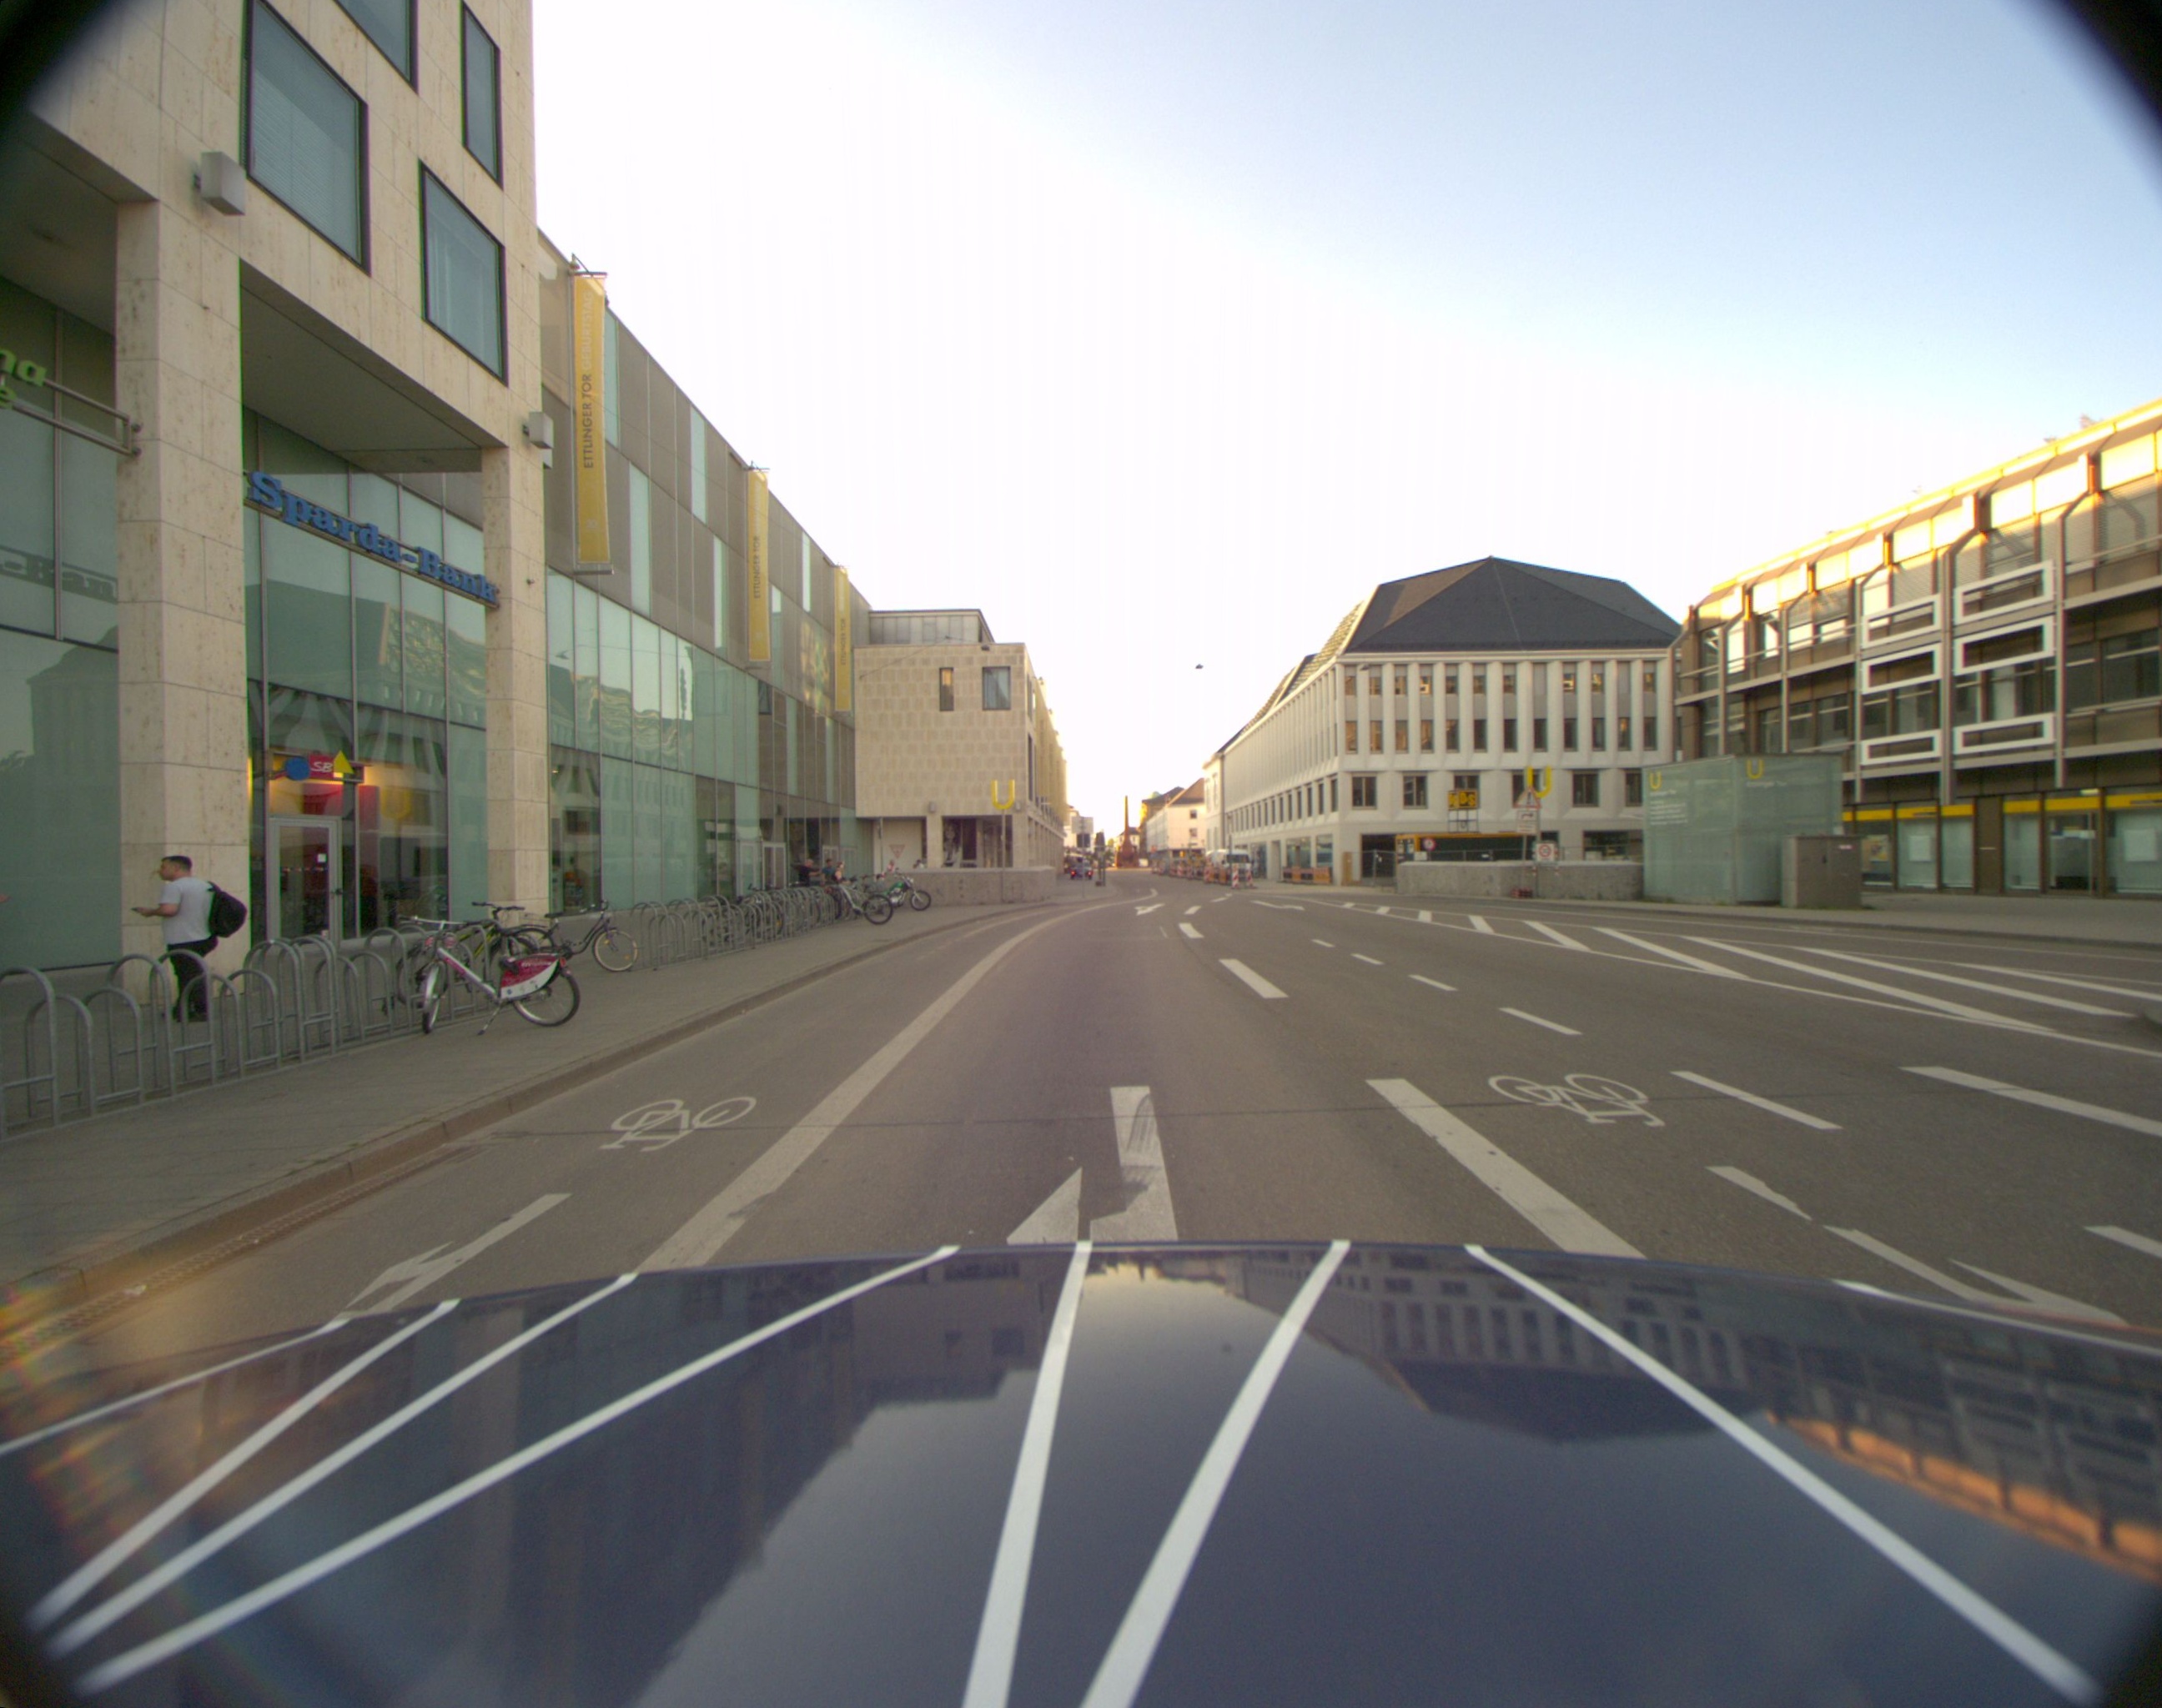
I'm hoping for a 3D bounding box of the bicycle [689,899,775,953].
[{"bbox_3d":[-6.652,1.365,14.508,1.345,0.927,0.518,-3,0,-1],"label":"bicycle"}]

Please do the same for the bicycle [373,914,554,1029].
[{"bbox_3d":[-6.796,1.284,8.397,1.518,1.117,0.581,-3,0,4],"label":"bicycle"}]

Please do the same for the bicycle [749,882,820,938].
[{"bbox_3d":[-6.657,1.256,17.082,1.345,1.157,0.518,-3,0,-1],"label":"bicycle"}]

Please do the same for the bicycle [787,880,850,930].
[{"bbox_3d":[-6.601,1.282,19.168,1.345,1.157,0.518,-3,0,-1],"label":"bicycle"}]

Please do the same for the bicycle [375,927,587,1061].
[{"bbox_3d":[-5.396,1.245,6.871,1.518,1.057,0.466,-3,0,1],"label":"bicycle"}]

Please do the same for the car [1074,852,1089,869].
[{"bbox_3d":[0.106,0.804,100.240,1.798,2.198,3.671,-1,0,2],"label":"car"}]

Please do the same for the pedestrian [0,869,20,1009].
[{"bbox_3d":[-13.002,1.002,8.727,0.629,1.642,0.708,-1,0,2],"label":"pedestrian"}]

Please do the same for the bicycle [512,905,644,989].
[{"bbox_3d":[-7.301,1.339,11.077,1.447,1.058,0.580,-3,0,-10],"label":"bicycle"}]

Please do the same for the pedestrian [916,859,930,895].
[{"bbox_3d":[-7.610,1.108,36.611,0.494,1.733,0.657,-1,0,3],"label":"pedestrian"}]

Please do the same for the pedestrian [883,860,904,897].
[{"bbox_3d":[-8.962,1.164,36.287,0.793,1.733,0.657,-1,0,3],"label":"pedestrian"}]

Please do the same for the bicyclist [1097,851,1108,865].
[{"bbox_3d":[3.722,0.724,130.656,1.549,2.391,1.207,-1,0,17],"label":"bicyclist"}]

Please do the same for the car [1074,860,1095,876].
[{"bbox_3d":[0.336,1.271,67.773,1.798,1.365,3.671,-1,0,2],"label":"car"}]

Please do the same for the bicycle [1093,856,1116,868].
[{"bbox_3d":[4.008,1.434,130.562,3.699,2.002,1.024,-1,0,18],"label":"bicycle"}]

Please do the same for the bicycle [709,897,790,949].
[{"bbox_3d":[-6.594,1.373,15.154,1.345,0.927,0.518,-3,0,-1],"label":"bicycle"}]

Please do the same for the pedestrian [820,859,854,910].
[{"bbox_3d":[-8.322,1.021,25.936,0.697,1.686,0.822,-1,0,24],"label":"pedestrian"}]

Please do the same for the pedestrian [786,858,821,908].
[{"bbox_3d":[-9.306,0.947,25.485,0.739,1.638,0.822,-1,0,23],"label":"pedestrian"}]

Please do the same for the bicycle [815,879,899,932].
[{"bbox_3d":[-5.387,1.236,18.324,1.838,1.140,0.466,-3,0,1],"label":"bicycle"}]

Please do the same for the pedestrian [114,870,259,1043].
[{"bbox_3d":[-9.129,1.016,7.776,0.707,1.682,0.629,-1,0,1],"label":"pedestrian"}]

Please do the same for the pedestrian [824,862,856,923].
[{"bbox_3d":[-6.669,1.054,20.992,0.809,1.633,0.646,-1,0,-18],"label":"pedestrian"}]

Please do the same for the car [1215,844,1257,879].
[{"bbox_3d":[11.989,0.567,59.166,2.141,2.540,6.050,-1,0,1],"label":"car"}]

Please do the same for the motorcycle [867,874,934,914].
[{"bbox_3d":[-5.708,1.254,24.089,2.007,1.217,0.480,-1,0,-2],"label":"motorcycle"}]

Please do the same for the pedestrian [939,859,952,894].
[{"bbox_3d":[-6.716,1.110,37.715,0.504,1.733,0.493,-1,0,3],"label":"pedestrian"}]

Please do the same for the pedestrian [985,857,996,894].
[{"bbox_3d":[-4.338,1.023,36.490,0.454,1.733,0.493,-1,0,3],"label":"pedestrian"}]

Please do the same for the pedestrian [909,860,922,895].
[{"bbox_3d":[-8.196,1.156,37.631,0.494,1.733,0.549,-1,0,3],"label":"pedestrian"}]
